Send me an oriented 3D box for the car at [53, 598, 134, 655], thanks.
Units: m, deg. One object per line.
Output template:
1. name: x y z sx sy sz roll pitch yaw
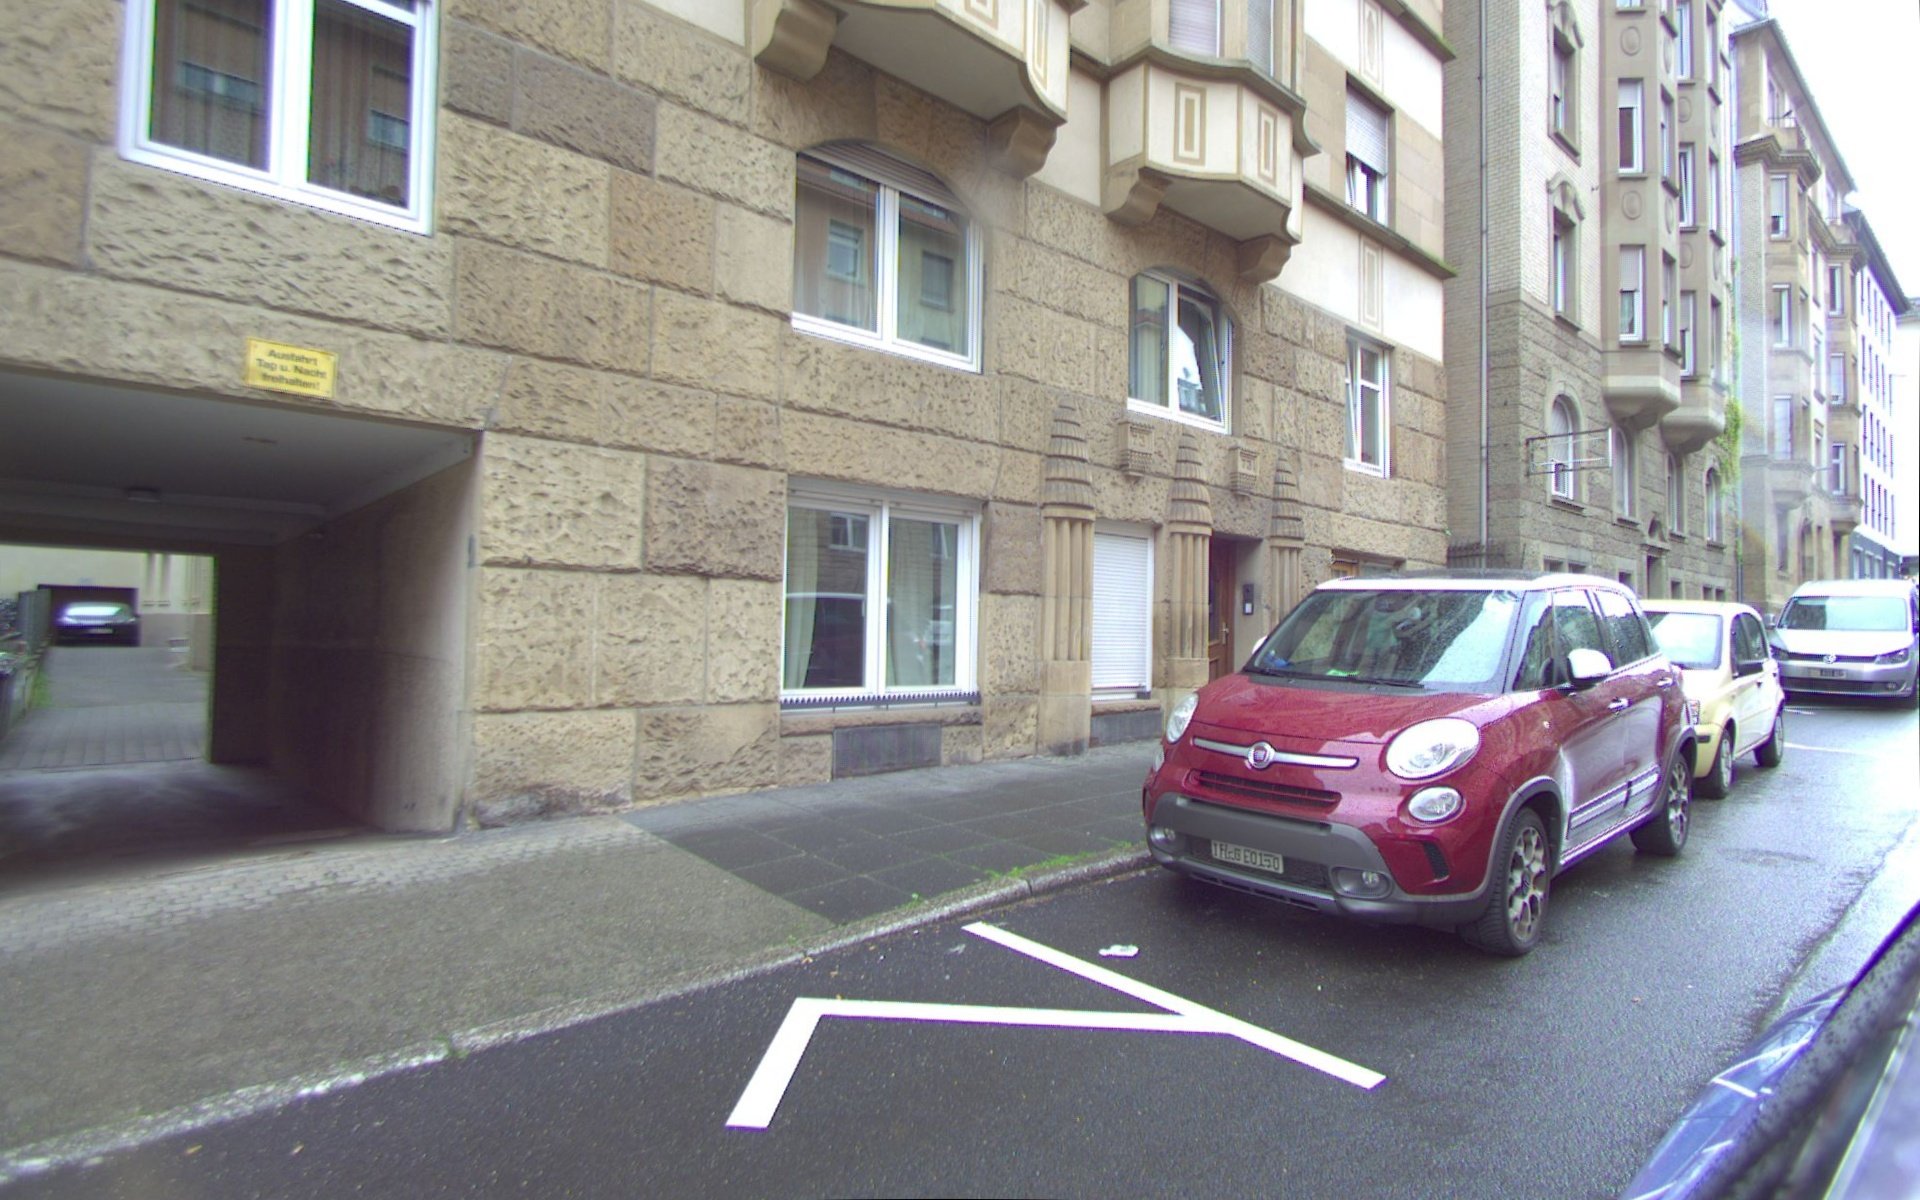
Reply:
1. car: -25.188 0.734 29.458 1.692 1.541 4.098 0 -1 -41

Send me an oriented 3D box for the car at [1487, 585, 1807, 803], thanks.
1. car: 6.197 0.675 8.993 3.517 1.549 1.578 0 -1 -43

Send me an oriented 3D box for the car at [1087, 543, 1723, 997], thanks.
1. car: 2.676 0.611 5.632 3.932 1.619 1.804 0 -1 -42

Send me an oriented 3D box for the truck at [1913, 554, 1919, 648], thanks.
1. truck: 29.160 0.025 28.880 6.036 2.568 2.234 0 -1 -41

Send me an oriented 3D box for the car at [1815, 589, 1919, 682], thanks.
1. car: 17.168 0.600 18.502 3.934 1.549 1.994 0 -1 -45

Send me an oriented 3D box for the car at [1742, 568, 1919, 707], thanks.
1. car: 13.760 0.500 15.511 4.380 1.825 1.966 0 -1 -41

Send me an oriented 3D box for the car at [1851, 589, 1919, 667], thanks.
1. car: 20.474 0.548 21.442 3.860 1.549 1.889 0 -1 -41
